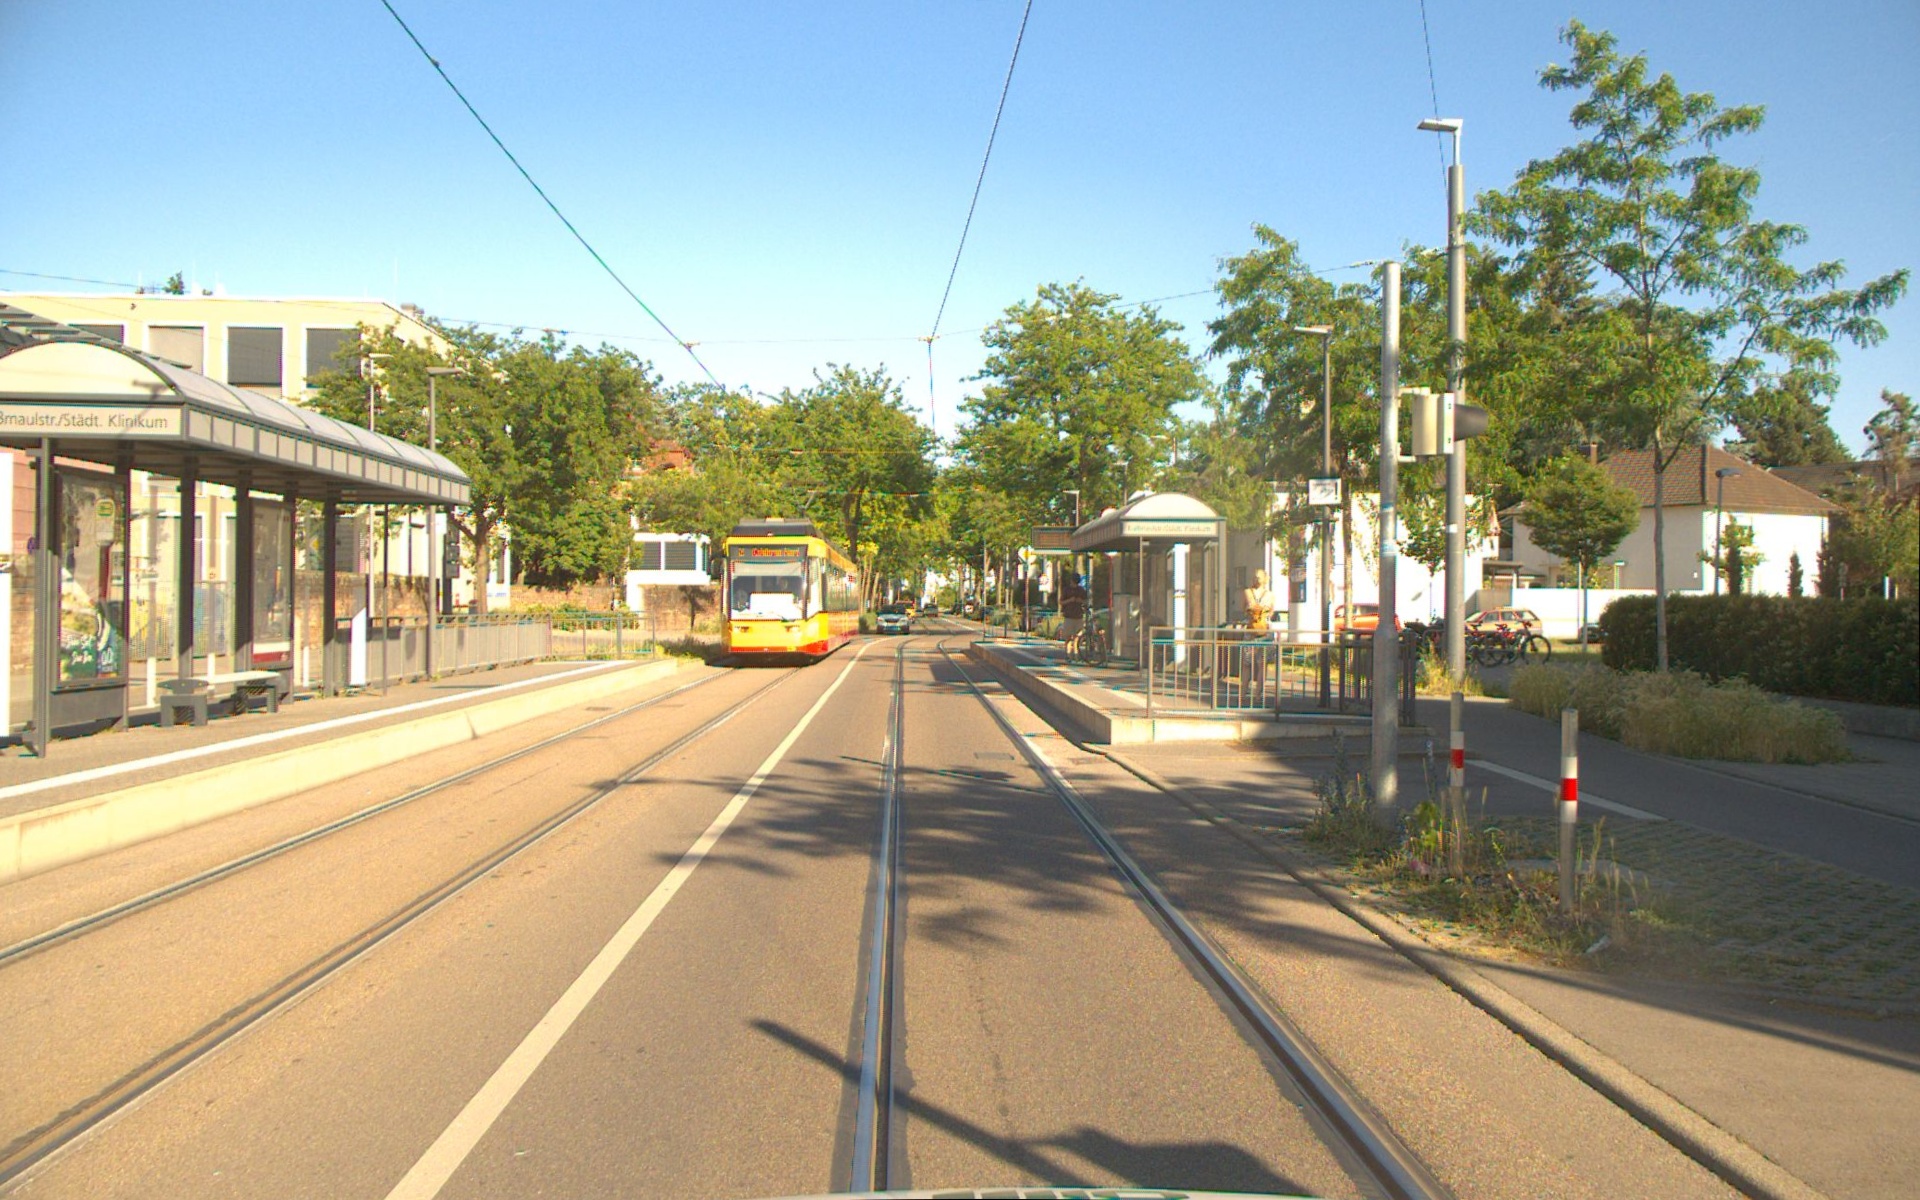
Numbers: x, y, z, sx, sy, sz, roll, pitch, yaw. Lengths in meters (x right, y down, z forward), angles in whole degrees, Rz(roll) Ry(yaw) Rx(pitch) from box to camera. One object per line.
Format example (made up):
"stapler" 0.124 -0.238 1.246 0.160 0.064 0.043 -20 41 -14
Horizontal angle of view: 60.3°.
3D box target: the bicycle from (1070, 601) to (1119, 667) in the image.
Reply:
"bicycle" 2.618 0.647 32.452 0.607 1.251 1.964 1 0 -6

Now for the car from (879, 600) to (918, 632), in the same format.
"car" -3.359 0.854 90.889 1.728 1.693 4.211 0 0 3

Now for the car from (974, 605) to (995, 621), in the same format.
"car" 2.490 1.287 168.530 1.749 1.473 4.298 -3 0 -4

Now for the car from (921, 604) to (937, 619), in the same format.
"car" -3.719 1.359 198.137 1.828 1.704 4.170 0 0 -3

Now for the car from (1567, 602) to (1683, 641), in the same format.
"car" 27.056 0.859 67.306 4.100 1.534 1.971 1 0 -20

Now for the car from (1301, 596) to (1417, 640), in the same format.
"car" 15.746 0.694 65.422 4.080 1.671 1.980 1 0 -4

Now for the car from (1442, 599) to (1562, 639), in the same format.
"car" 21.561 0.744 65.886 4.085 1.534 1.978 1 0 -9

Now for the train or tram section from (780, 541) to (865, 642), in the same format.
"train or tram section" -4.976 -0.294 60.963 2.747 3.520 6.665 1 0 -2

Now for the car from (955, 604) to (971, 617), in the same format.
"car" 0.391 1.448 231.864 1.963 1.704 4.390 -2 0 -2

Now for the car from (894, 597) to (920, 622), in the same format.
"car" -4.459 0.776 137.673 1.954 2.000 4.929 0 0 -5

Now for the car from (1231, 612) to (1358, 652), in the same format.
"car" 12.712 1.226 63.093 4.506 1.492 1.983 0 -2 4

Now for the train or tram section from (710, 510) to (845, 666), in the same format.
"train or tram section" -4.381 -0.272 40.970 2.747 3.520 6.665 1 0 -2

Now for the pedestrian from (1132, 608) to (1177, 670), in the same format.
"pedestrian" 3.651 0.721 31.148 0.723 1.137 0.658 2 0 -3

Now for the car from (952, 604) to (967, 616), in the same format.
"car" -0.058 1.437 249.263 1.961 1.704 4.393 -2 0 2

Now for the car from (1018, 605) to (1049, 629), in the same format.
"car" 4.856 1.091 109.555 1.713 1.521 3.995 -1 0 -2

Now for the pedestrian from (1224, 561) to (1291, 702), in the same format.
"pedestrian" 3.760 0.390 20.915 0.658 1.734 0.690 2 0 -3

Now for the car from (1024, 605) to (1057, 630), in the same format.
"car" 5.033 1.098 103.826 1.713 1.521 4.441 -1 0 -2

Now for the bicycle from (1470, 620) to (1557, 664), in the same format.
"bicycle" 12.714 0.958 37.995 1.862 0.996 0.490 0 0 -9

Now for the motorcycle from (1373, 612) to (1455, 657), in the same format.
"motorcycle" 12.205 0.921 44.506 1.961 1.178 0.860 0 0 -9

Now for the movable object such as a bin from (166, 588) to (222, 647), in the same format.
"movable object such as a bin" -19.589 0.437 42.318 0.863 1.472 1.308 0 0 -3

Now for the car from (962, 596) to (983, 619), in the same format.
"car" 1.478 0.918 199.651 2.200 2.700 5.582 0 0 -2

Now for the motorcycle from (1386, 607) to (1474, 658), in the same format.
"motorcycle" 12.190 0.833 42.912 2.039 1.296 0.860 0 0 -9

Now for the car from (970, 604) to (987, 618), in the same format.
"car" 1.950 1.204 178.216 1.594 1.422 3.644 -3 0 -2

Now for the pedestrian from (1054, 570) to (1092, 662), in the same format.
"pedestrian" 2.370 0.328 34.711 0.696 1.886 0.729 2 0 0

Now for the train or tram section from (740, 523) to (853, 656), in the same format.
"train or tram section" -4.590 -0.285 47.648 2.747 3.520 6.665 1 0 -2

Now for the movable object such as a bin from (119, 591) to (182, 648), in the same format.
"movable object such as a bin" -18.919 0.448 38.673 0.863 1.307 1.308 0 0 -4

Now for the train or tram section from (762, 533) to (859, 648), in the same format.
"train or tram section" -4.799 -0.282 54.314 2.747 3.520 6.665 1 0 -2

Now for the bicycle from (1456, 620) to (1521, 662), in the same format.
"bicycle" 12.597 0.972 39.436 1.442 0.996 0.415 0 0 -9
